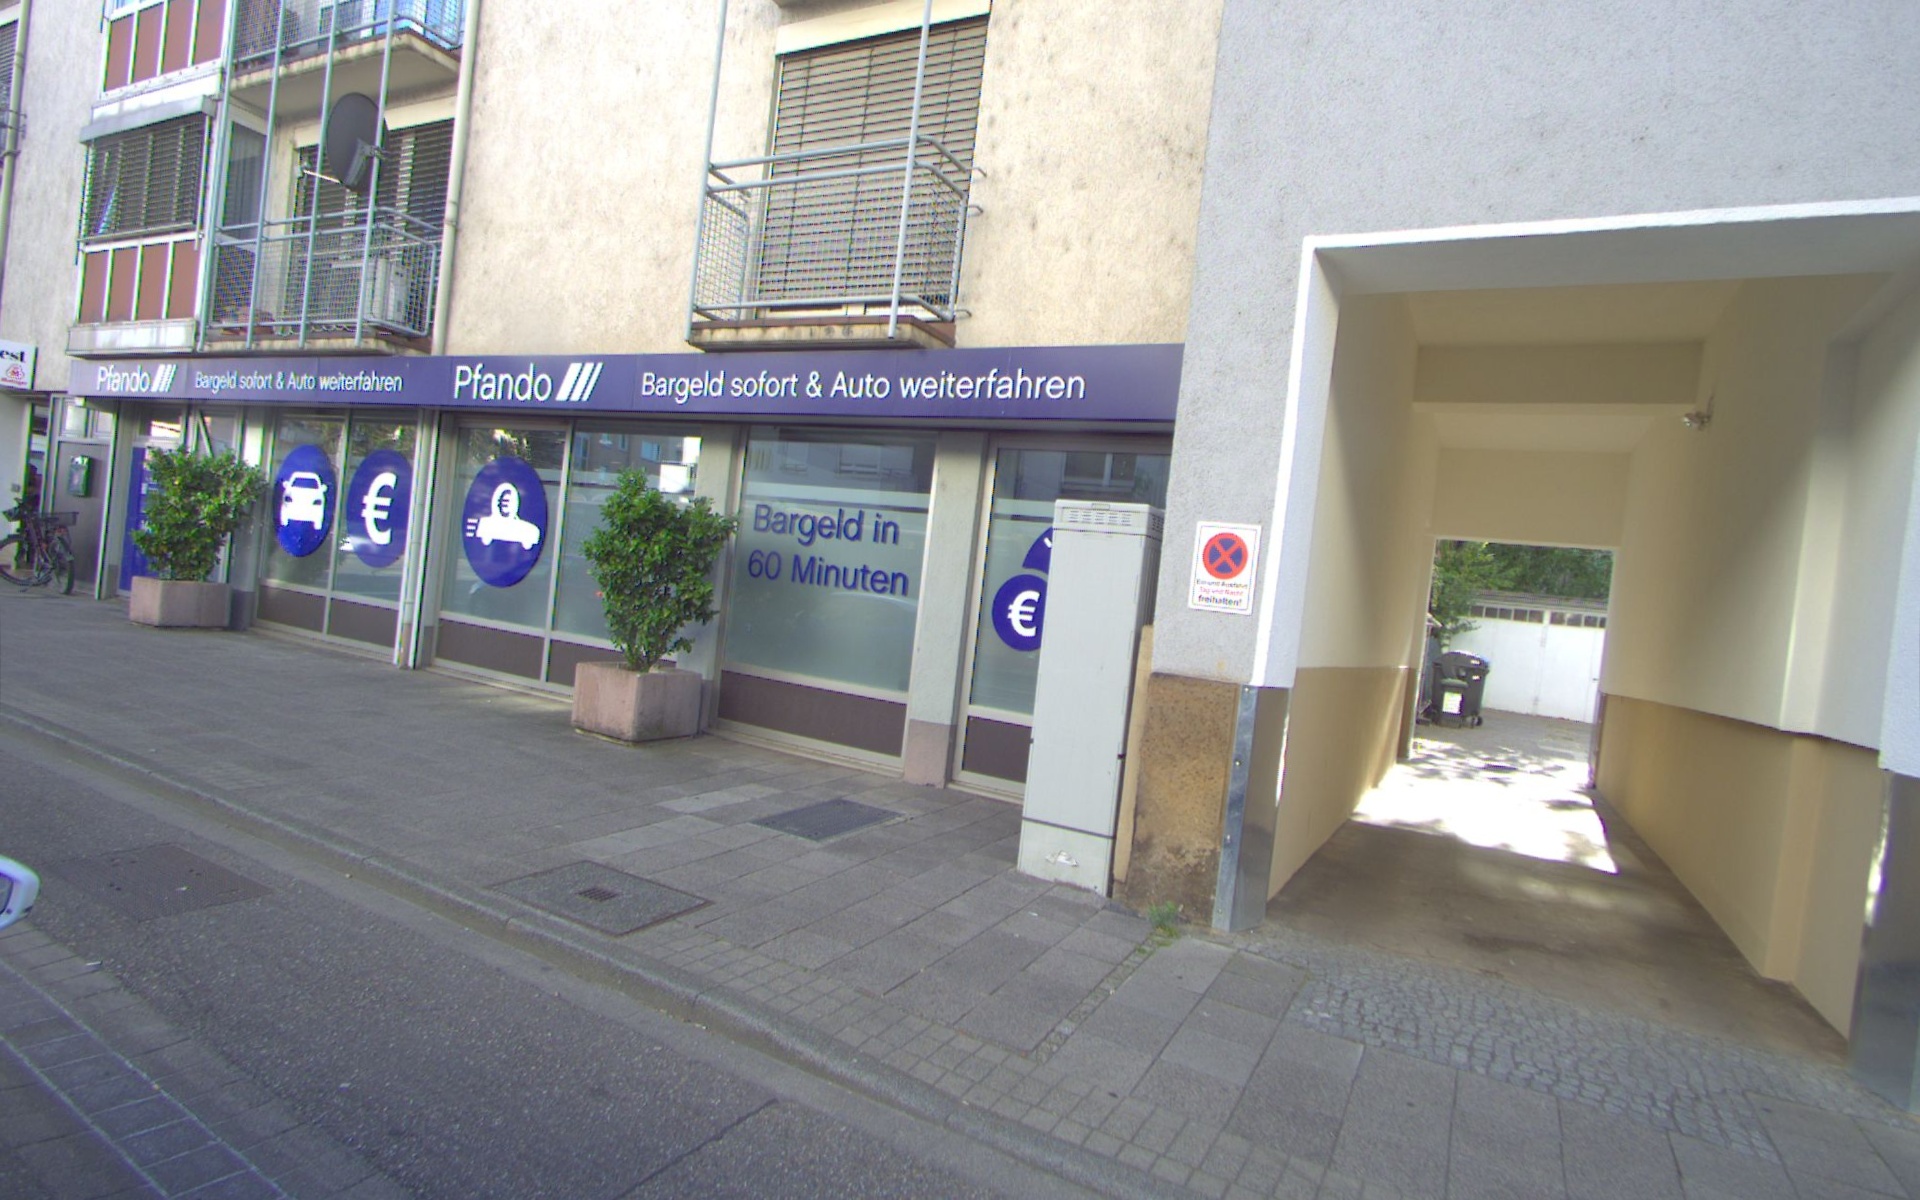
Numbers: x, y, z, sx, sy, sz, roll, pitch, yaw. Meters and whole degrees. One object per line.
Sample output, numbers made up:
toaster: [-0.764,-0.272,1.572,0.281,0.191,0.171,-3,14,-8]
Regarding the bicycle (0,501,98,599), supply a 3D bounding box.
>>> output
bicycle: [-11.802,-0.662,12.852,1.779,1.086,0.531,7,1,28]
